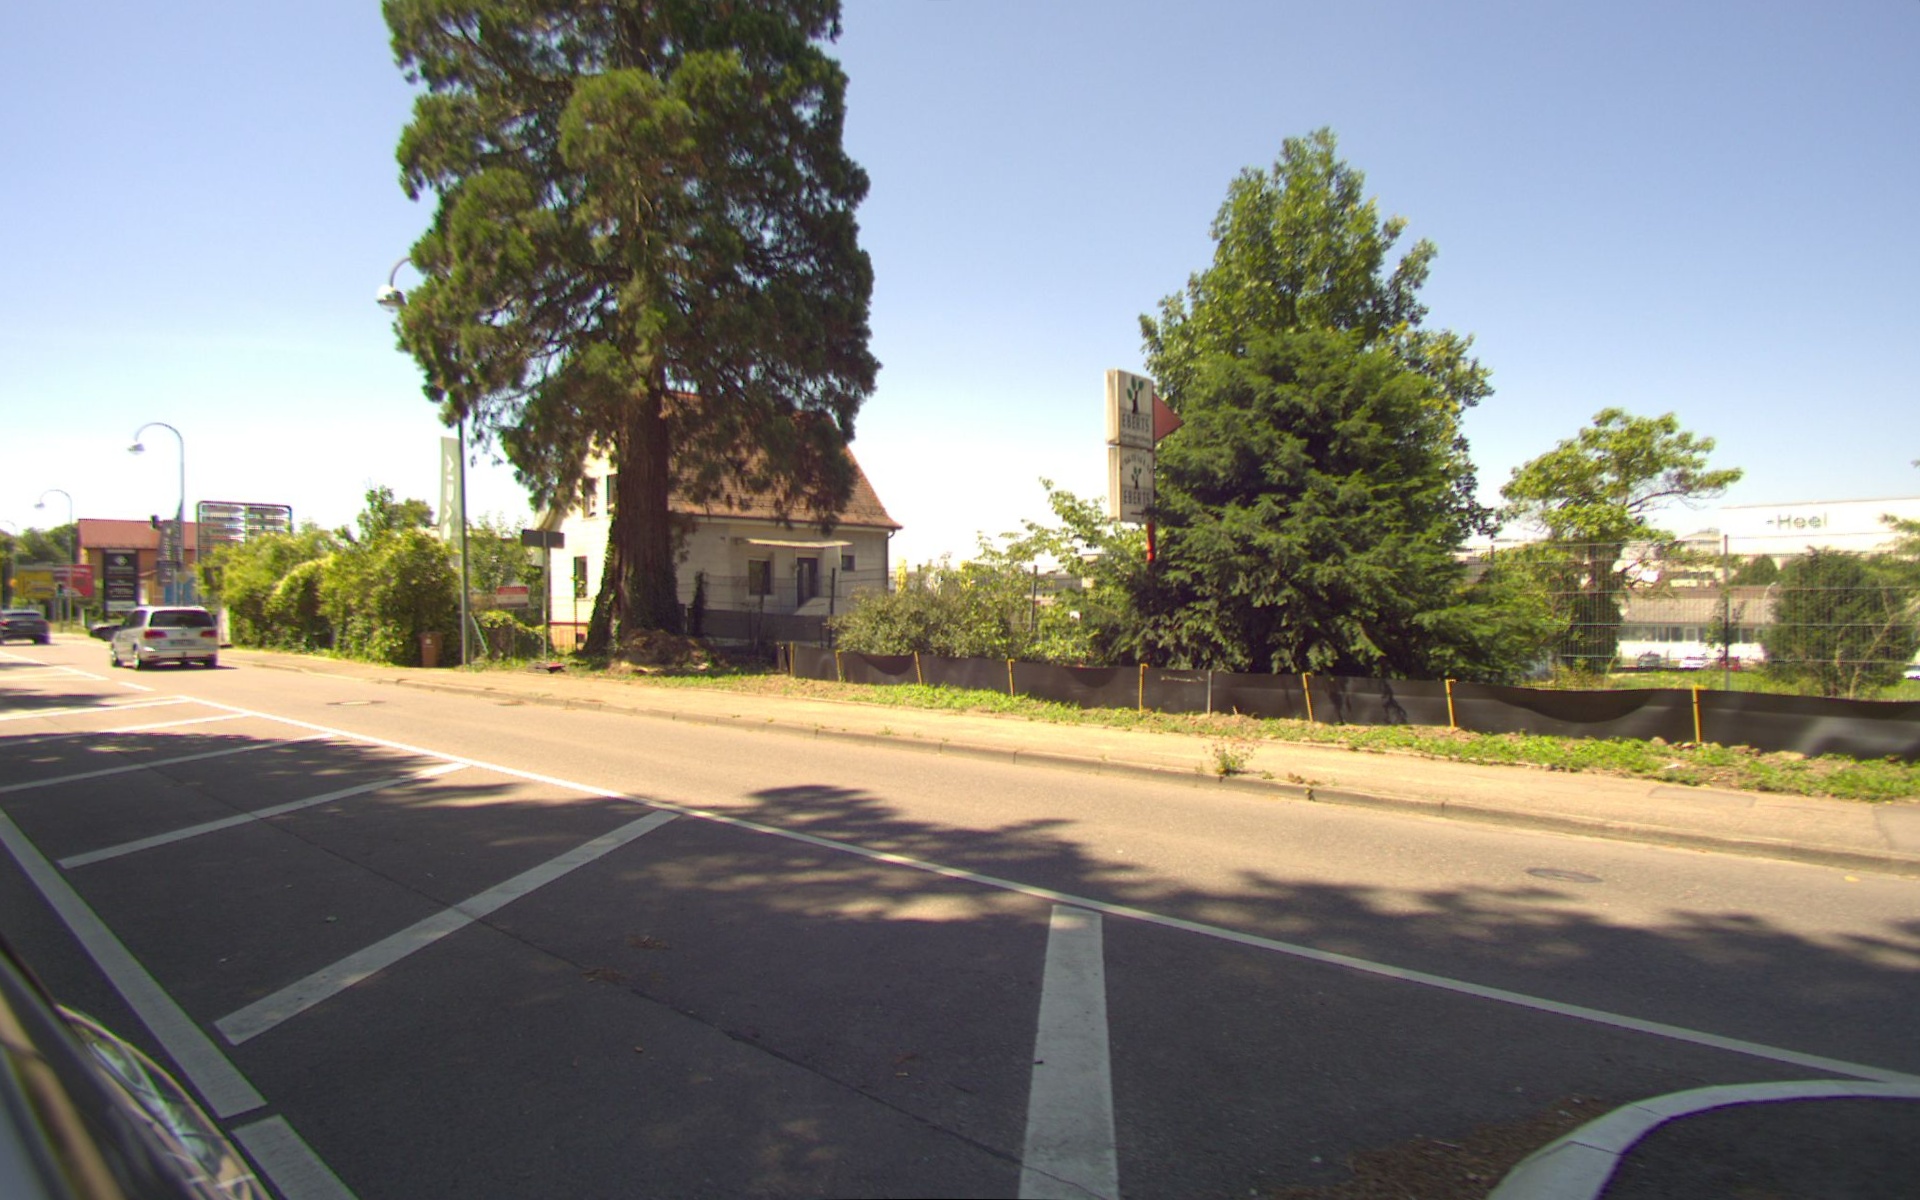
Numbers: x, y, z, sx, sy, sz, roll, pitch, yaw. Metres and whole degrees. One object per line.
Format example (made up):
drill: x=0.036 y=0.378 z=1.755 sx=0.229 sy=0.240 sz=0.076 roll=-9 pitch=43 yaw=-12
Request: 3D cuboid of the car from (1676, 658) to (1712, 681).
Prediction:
car: x=61.949 y=5.831 z=85.401 sx=2.000 sy=1.586 sz=3.943 roll=-1 pitch=0 yaw=43

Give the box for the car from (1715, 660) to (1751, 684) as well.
car: x=63.759 y=5.906 z=83.472 sx=2.000 sy=1.586 sz=3.943 roll=-1 pitch=0 yaw=43

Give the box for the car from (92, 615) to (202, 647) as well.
car: x=-42.232 y=1.597 z=52.710 sx=4.247 sy=1.561 sz=1.891 roll=0 pitch=-1 yaw=-31

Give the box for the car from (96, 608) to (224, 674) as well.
car: x=-21.704 y=1.060 z=27.396 sx=4.685 sy=1.657 sz=1.765 roll=-1 pitch=-2 yaw=40

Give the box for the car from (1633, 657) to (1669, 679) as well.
car: x=59.753 y=5.855 z=87.506 sx=2.000 sy=1.586 sz=3.943 roll=-1 pitch=0 yaw=43

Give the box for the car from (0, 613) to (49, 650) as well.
car: x=-42.708 y=1.378 z=45.659 sx=4.318 sy=1.561 sz=1.860 roll=-1 pitch=-1 yaw=40
